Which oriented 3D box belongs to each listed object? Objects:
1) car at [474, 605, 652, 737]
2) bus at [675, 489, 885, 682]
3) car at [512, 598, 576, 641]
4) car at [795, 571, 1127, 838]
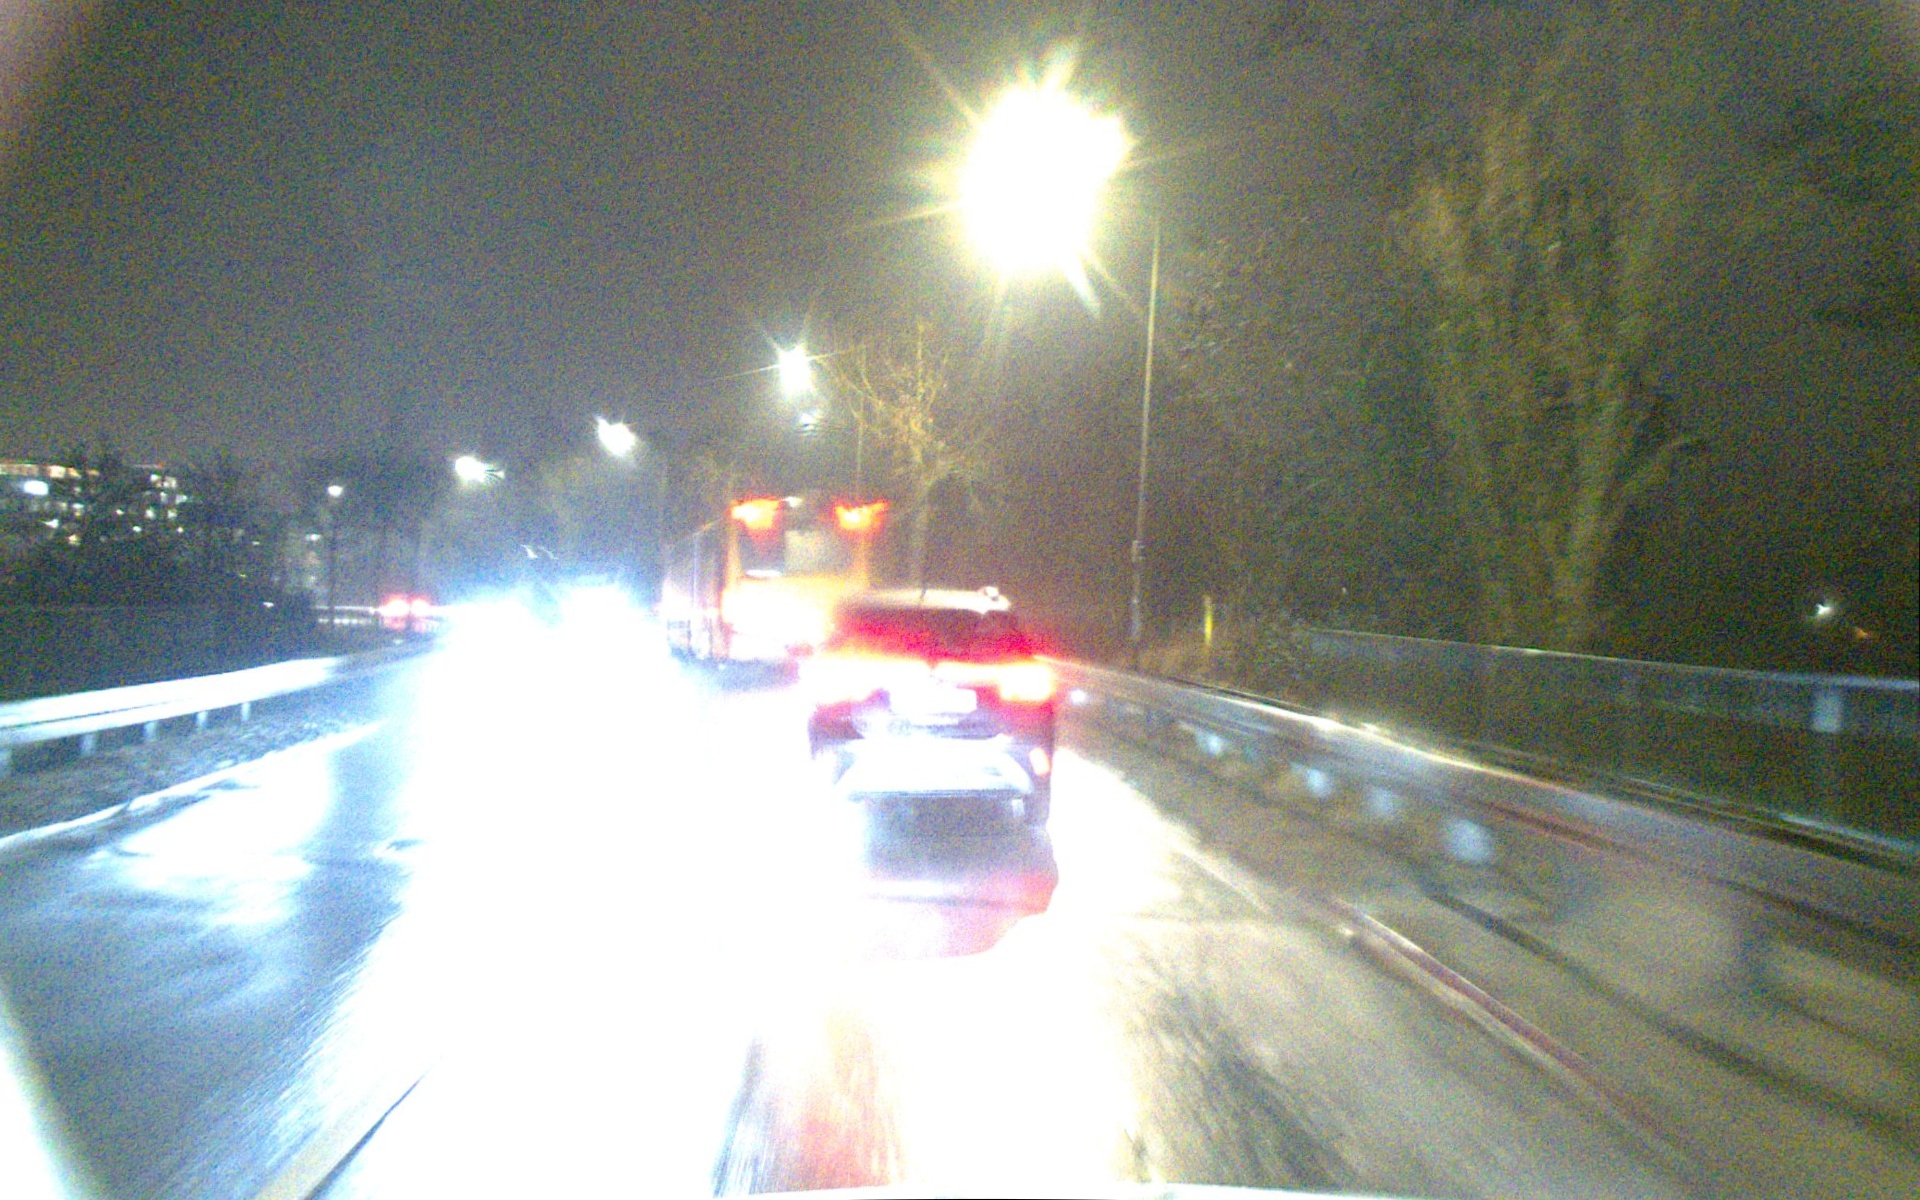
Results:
[{"bbox_3d":[-5.540,0.919,23.625,1.861,1.594,4.728,1,1,-6],"label":"car"},{"bbox_3d":[-4.058,-0.285,33.907,3.029,3.187,12.658,0,0,-12],"label":"bus"},{"bbox_3d":[-17.601,0.790,69.910,1.620,1.684,3.670,-2,1,-31],"label":"car"},{"bbox_3d":[-0.178,0.638,12.124,1.821,1.614,3.991,1,0,-9],"label":"car"}]
